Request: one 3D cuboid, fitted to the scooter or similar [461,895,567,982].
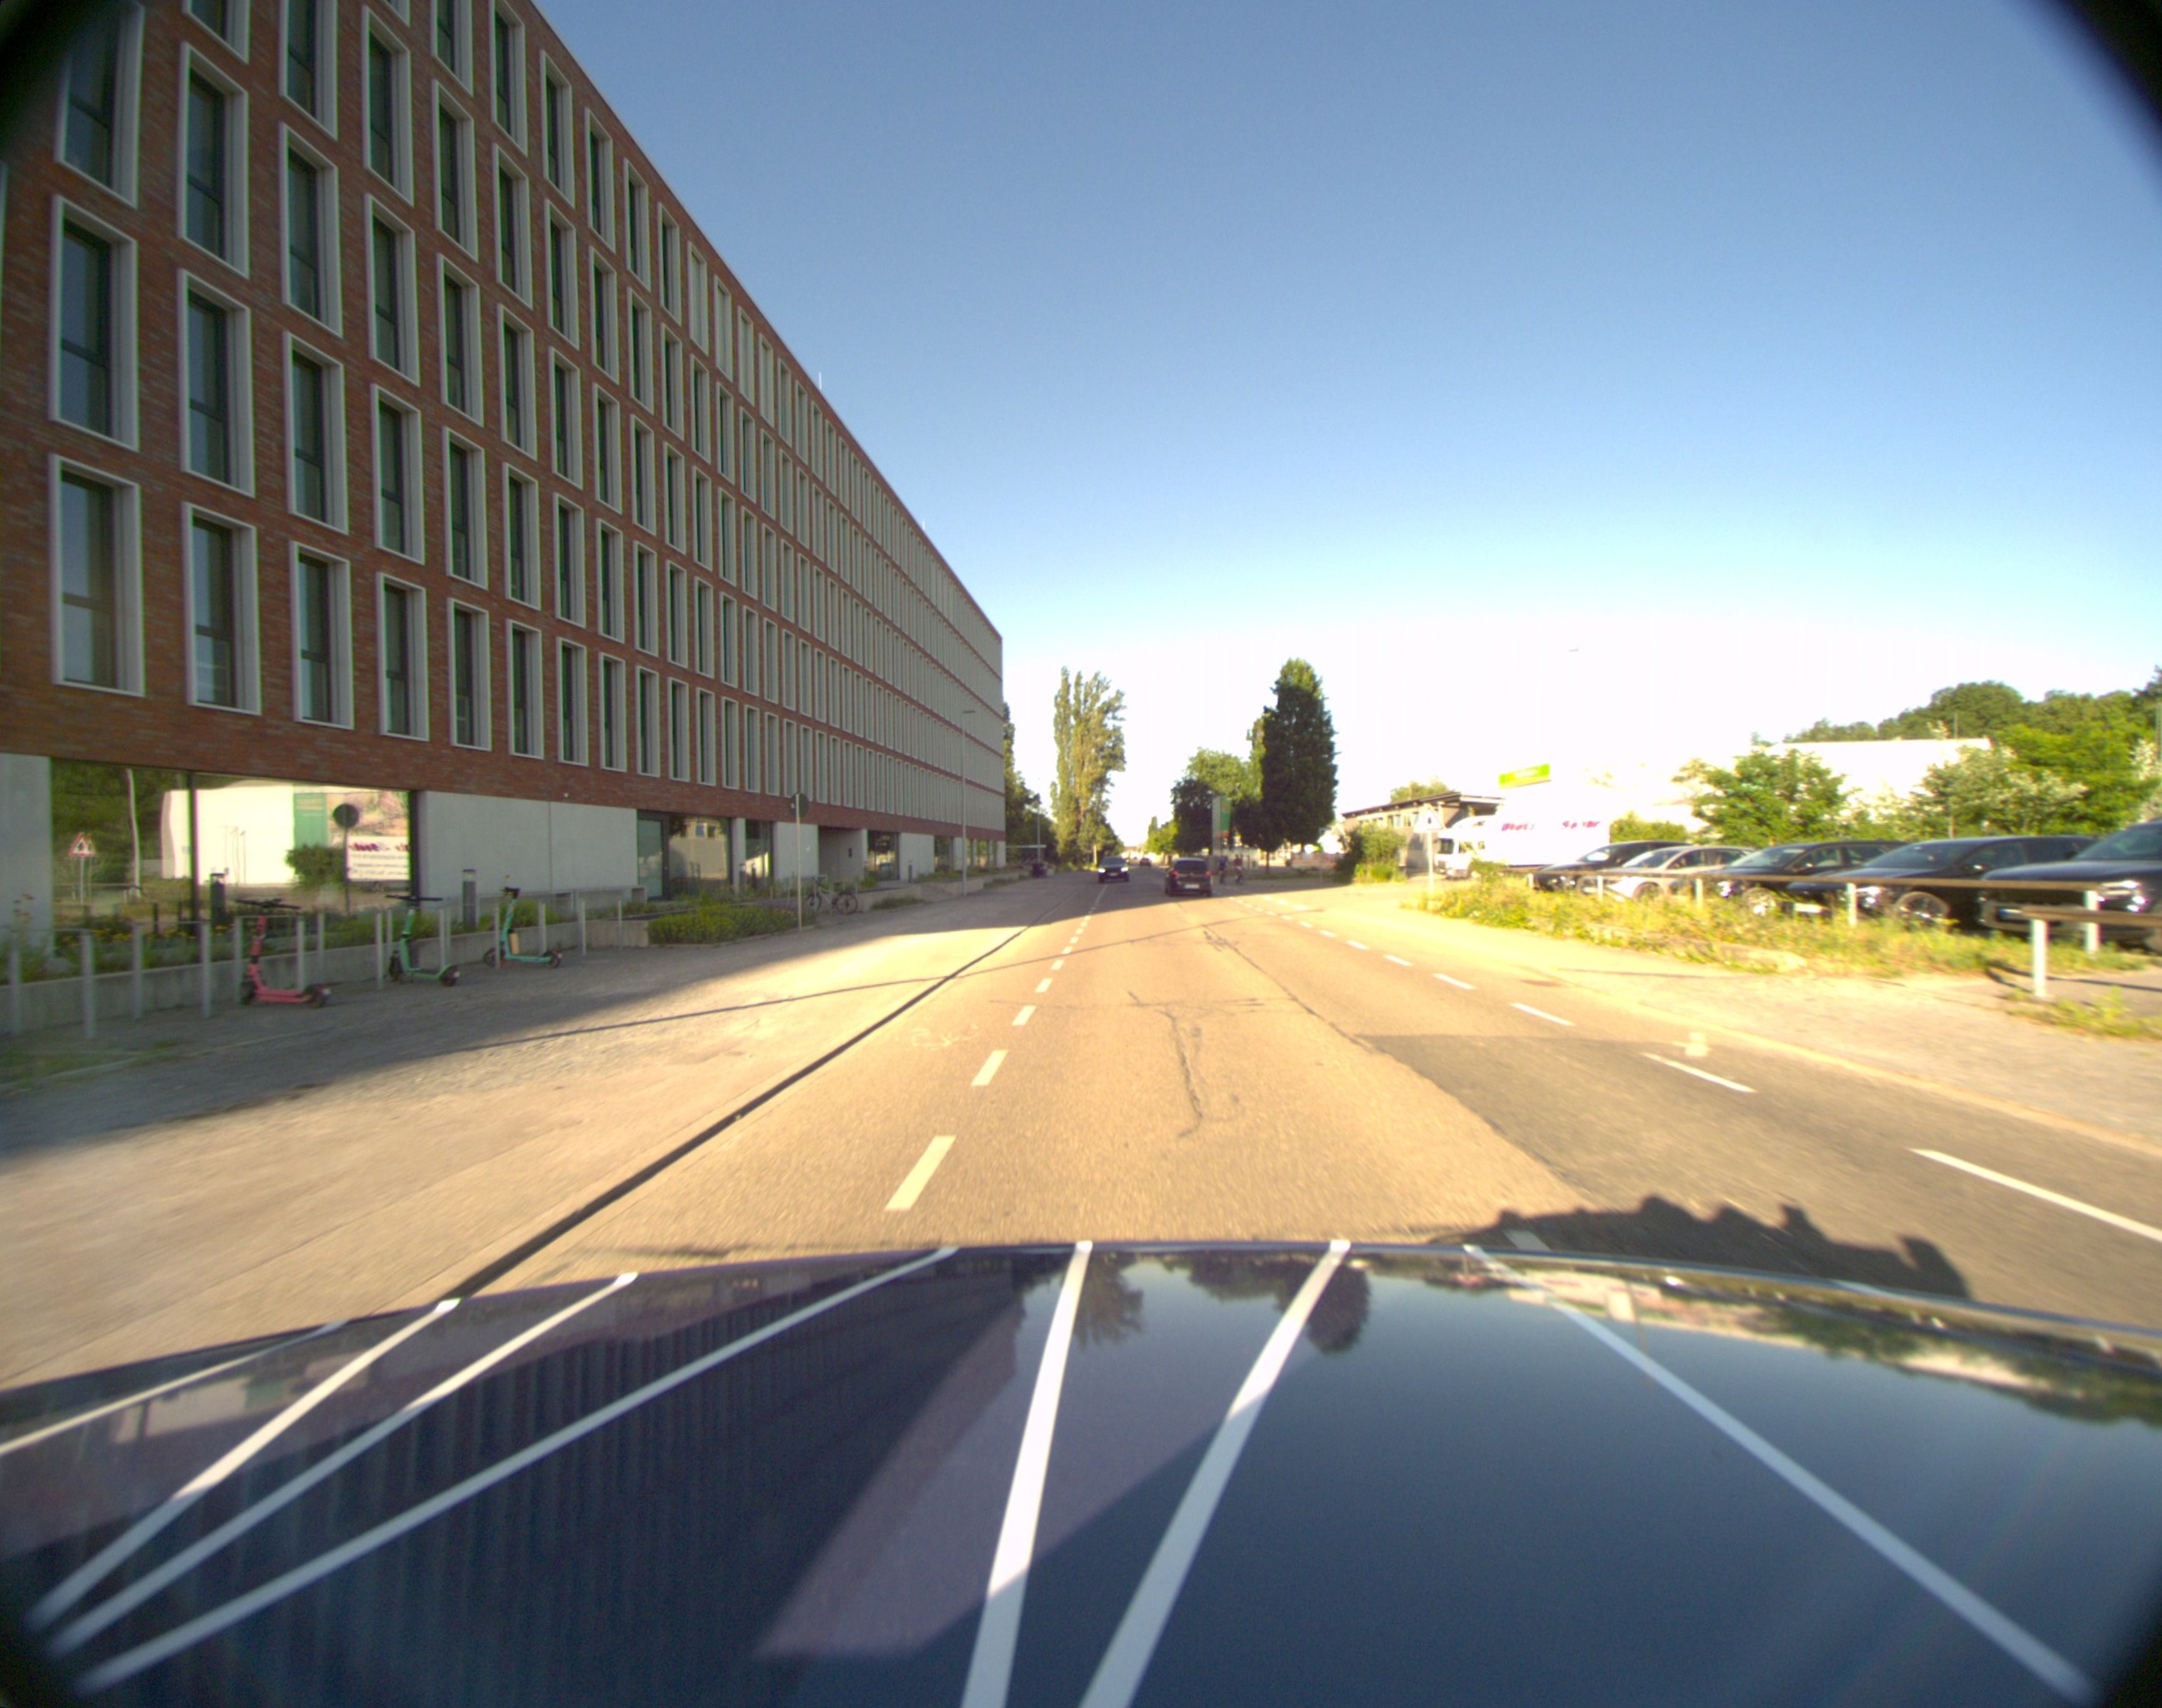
[{"bbox_3d":[-8.369,1.233,11.225,1.343,1.238,0.424,-1,0,8],"label":"scooter or similar"}]

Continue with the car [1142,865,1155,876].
[{"bbox_3d":[10.110,2.436,113.865,1.744,1.517,4.113,2,-1,3],"label":"car"}]

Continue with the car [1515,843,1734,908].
[{"bbox_3d":[14.723,0.586,20.836,4.438,1.571,2.049,-2,-1,5],"label":"car"}]

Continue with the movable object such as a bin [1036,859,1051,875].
[{"bbox_3d":[-3.152,1.083,63.713,1.131,1.328,1.346,-1,-1,3],"label":"movable object such as a bin"}]

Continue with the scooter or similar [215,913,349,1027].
[{"bbox_3d":[-8.694,1.251,8.275,1.245,1.188,0.340,-1,0,8],"label":"scooter or similar"}]

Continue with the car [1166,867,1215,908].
[{"bbox_3d":[4.376,1.292,30.816,1.657,1.494,4.001,0,0,3],"label":"car"}]

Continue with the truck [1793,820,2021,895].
[{"bbox_3d":[33.250,0.169,30.761,6.510,2.790,2.317,-1,0,2],"label":"truck"}]

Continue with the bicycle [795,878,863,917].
[{"bbox_3d":[-7.632,1.321,23.040,1.937,1.163,0.375,0,0,-2],"label":"bicycle"}]

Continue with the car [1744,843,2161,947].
[{"bbox_3d":[14.003,0.636,12.379,4.438,1.453,2.049,-2,-1,5],"label":"car"}]

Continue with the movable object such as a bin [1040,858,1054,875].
[{"bbox_3d":[-2.911,1.078,65.168,1.131,1.363,1.346,-1,-1,3],"label":"movable object such as a bin"}]

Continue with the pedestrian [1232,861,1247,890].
[{"bbox_3d":[9.737,1.315,46.803,0.722,1.710,1.057,-1,0,4],"label":"pedestrian"}]

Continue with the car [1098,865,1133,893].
[{"bbox_3d":[2.346,1.626,50.147,1.998,1.608,4.002,-5,-1,5],"label":"car"}]

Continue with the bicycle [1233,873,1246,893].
[{"bbox_3d":[9.745,1.761,46.736,0.471,1.141,1.870,-3,-1,4],"label":"bicycle"}]

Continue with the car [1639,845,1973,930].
[{"bbox_3d":[14.019,0.643,14.974,4.438,1.453,2.049,-2,-1,5],"label":"car"}]

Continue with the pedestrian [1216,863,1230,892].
[{"bbox_3d":[8.742,1.442,46.795,0.722,1.710,1.057,-1,0,4],"label":"pedestrian"}]

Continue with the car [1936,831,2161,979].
[{"bbox_3d":[14.078,0.532,9.393,4.438,1.660,2.049,-2,-1,5],"label":"car"}]

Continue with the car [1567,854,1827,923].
[{"bbox_3d":[14.539,0.797,18.188,4.438,1.453,2.049,-2,-1,5],"label":"car"}]

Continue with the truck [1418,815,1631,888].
[{"bbox_3d":[24.698,-0.119,42.737,10.122,3.593,2.776,-2,0,3],"label":"truck"}]

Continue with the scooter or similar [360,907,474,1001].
[{"bbox_3d":[-8.501,1.266,9.734,1.245,1.149,0.366,-1,0,8],"label":"scooter or similar"}]

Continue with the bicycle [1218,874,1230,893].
[{"bbox_3d":[8.796,1.802,46.798,0.447,1.141,2.202,-3,-1,4],"label":"bicycle"}]
